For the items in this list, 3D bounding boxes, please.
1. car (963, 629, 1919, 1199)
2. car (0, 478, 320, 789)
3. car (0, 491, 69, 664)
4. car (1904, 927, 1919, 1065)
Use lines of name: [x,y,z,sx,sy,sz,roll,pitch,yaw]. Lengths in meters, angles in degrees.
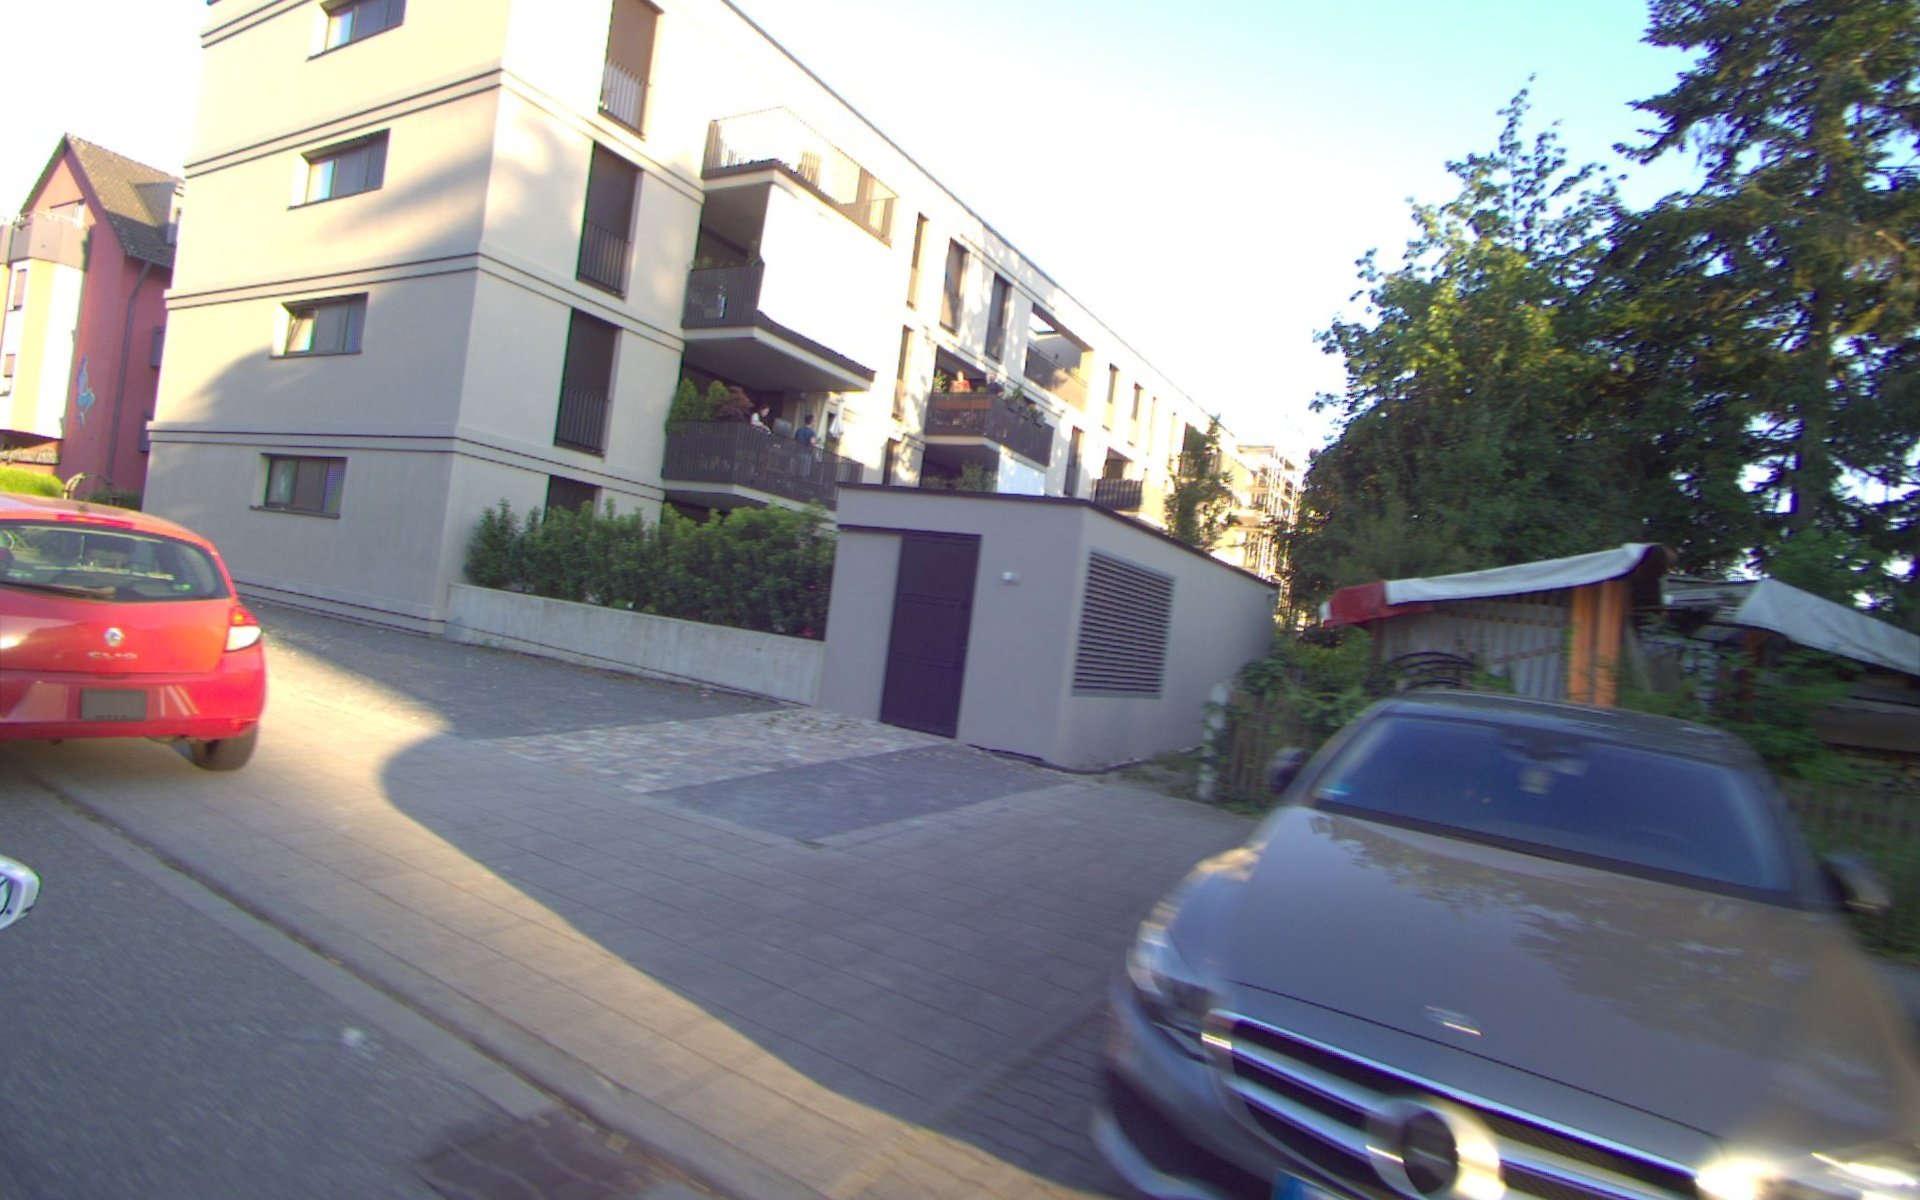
car: [2.135,1.048,3.905,1.742,1.415,4.821,7,0,34]
car: [-5.870,0.040,6.225,3.698,1.487,1.743,7,-1,33]
car: [-10.171,-0.429,9.265,3.779,1.487,1.801,7,-1,31]
car: [4.179,1.300,2.653,1.742,1.520,4.057,7,0,35]
